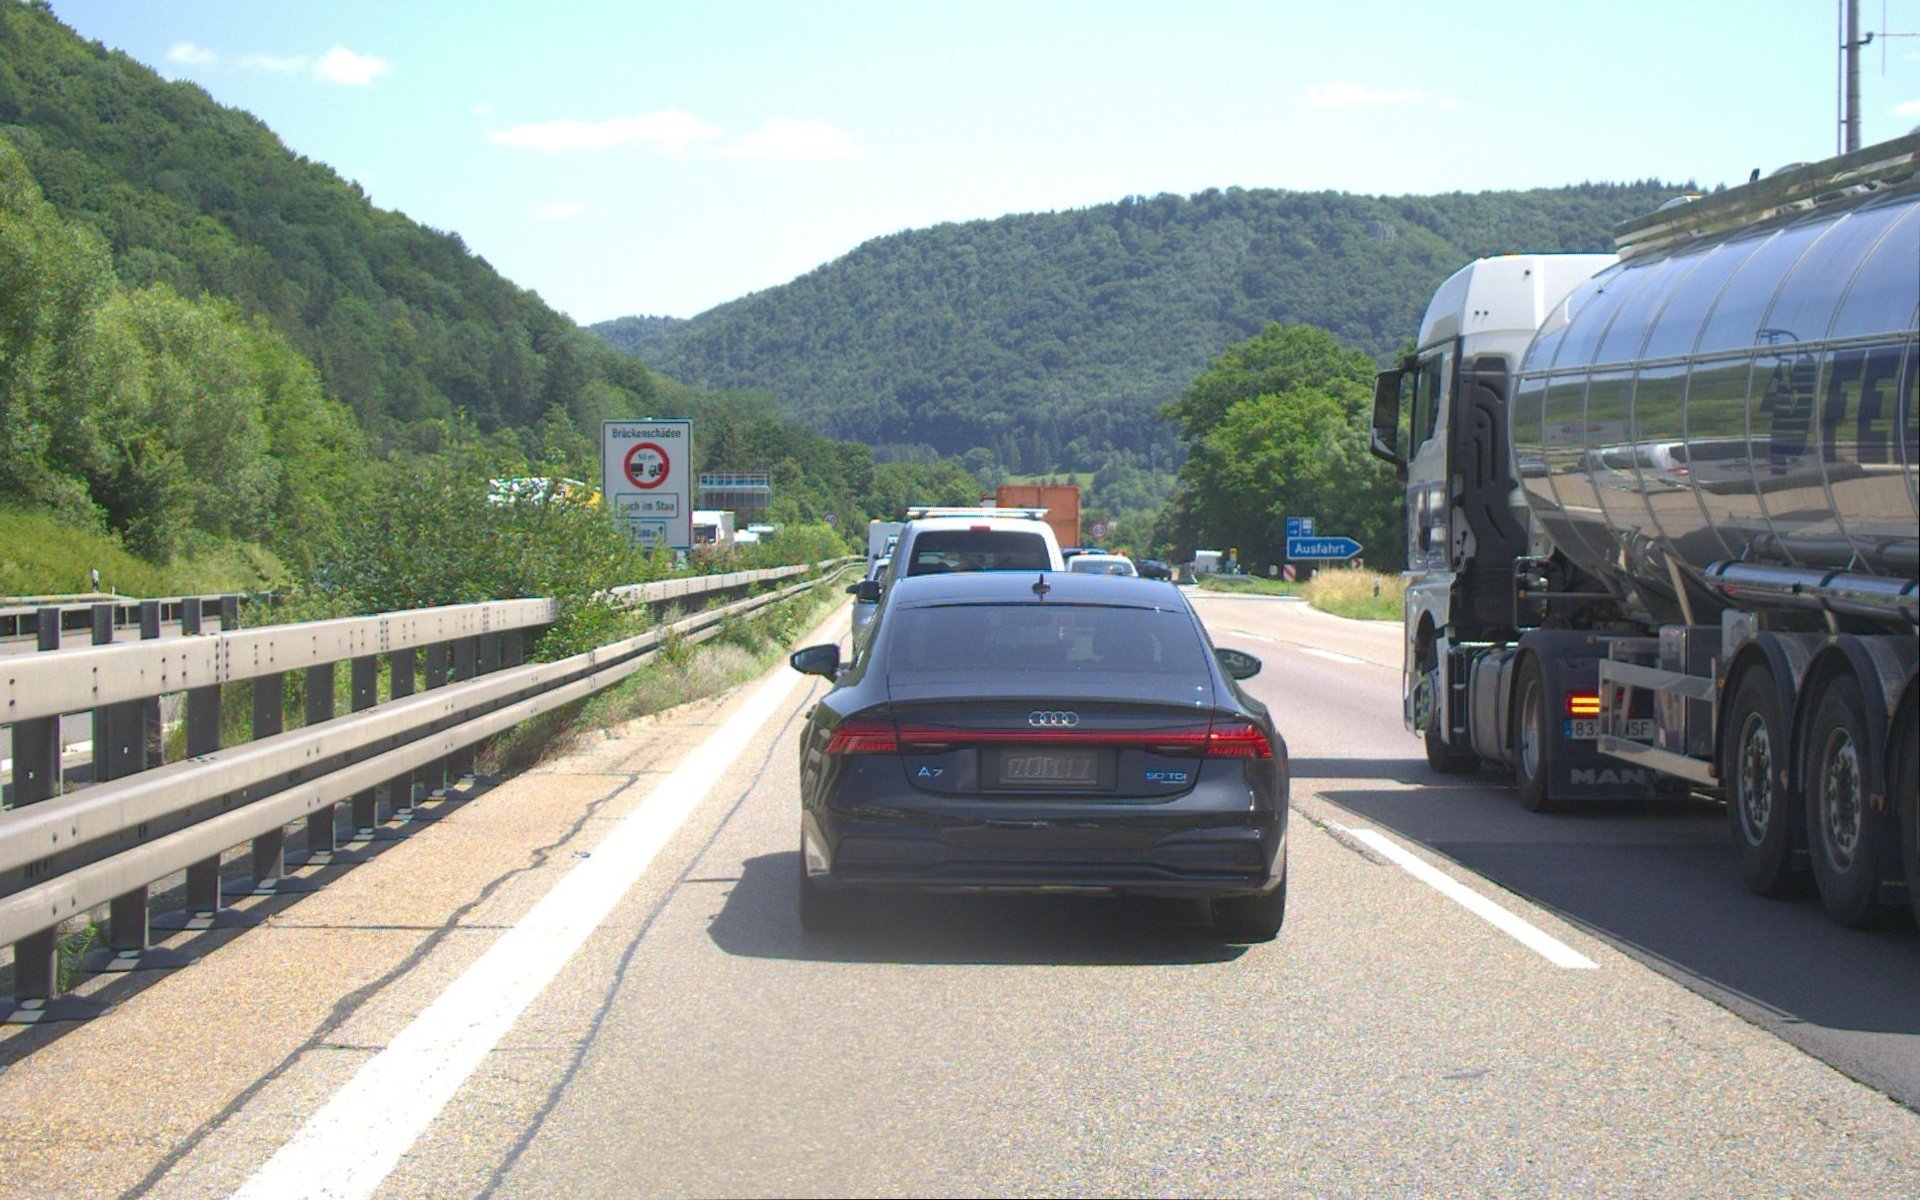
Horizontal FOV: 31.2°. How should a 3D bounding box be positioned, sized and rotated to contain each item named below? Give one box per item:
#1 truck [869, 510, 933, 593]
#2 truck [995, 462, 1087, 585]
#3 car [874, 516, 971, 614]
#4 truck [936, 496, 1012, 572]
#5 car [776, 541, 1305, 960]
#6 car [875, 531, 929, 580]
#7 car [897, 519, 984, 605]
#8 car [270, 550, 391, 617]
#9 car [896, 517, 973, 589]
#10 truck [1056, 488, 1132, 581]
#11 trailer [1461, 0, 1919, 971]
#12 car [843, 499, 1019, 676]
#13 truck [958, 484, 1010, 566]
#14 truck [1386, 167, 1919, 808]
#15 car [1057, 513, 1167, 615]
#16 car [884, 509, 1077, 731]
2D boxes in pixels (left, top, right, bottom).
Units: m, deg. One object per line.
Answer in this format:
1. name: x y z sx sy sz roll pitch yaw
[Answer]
1. truck: -2.492 -2.092 148.084 2.628 3.429 11.421 0 1 0
2. truck: 2.717 -2.626 119.909 2.817 3.989 14.956 1 1 0
3. car: -0.817 -0.751 72.775 1.993 2.007 4.000 0 1 -1
4. truck: 0.948 -3.988 208.237 3.794 4.399 14.954 0 1 3
5. car: 0.182 0.505 14.313 1.849 1.483 4.083 1 1 -3
6. car: -1.947 -1.499 115.912 1.712 1.613 4.000 0 1 0
7. car: -0.492 -0.919 82.384 1.993 2.007 4.000 0 1 -1
8. car: -14.016 -0.397 76.719 1.869 1.415 4.433 -1 1 0
9. car: -0.575 -1.092 79.147 1.712 1.613 4.000 0 1 0
10. truck: 6.041 -2.973 157.281 2.817 3.989 14.956 1 1 0
11. trailer: 4.665 -0.569 16.187 2.538 3.722 11.892 1 1 -1
12. car: -0.363 -0.177 41.417 1.993 2.007 4.000 1 1 -1
13. truck: 1.012 -3.243 150.805 1.993 3.435 11.812 1 1 -1
14. truck: 4.501 -0.703 22.881 2.511 3.745 5.246 1 1 -1
15. car: 3.071 -0.743 70.087 1.993 2.007 4.000 0 1 -1
16. car: 0.136 0.134 30.491 1.575 1.827 4.000 1 1 -1
